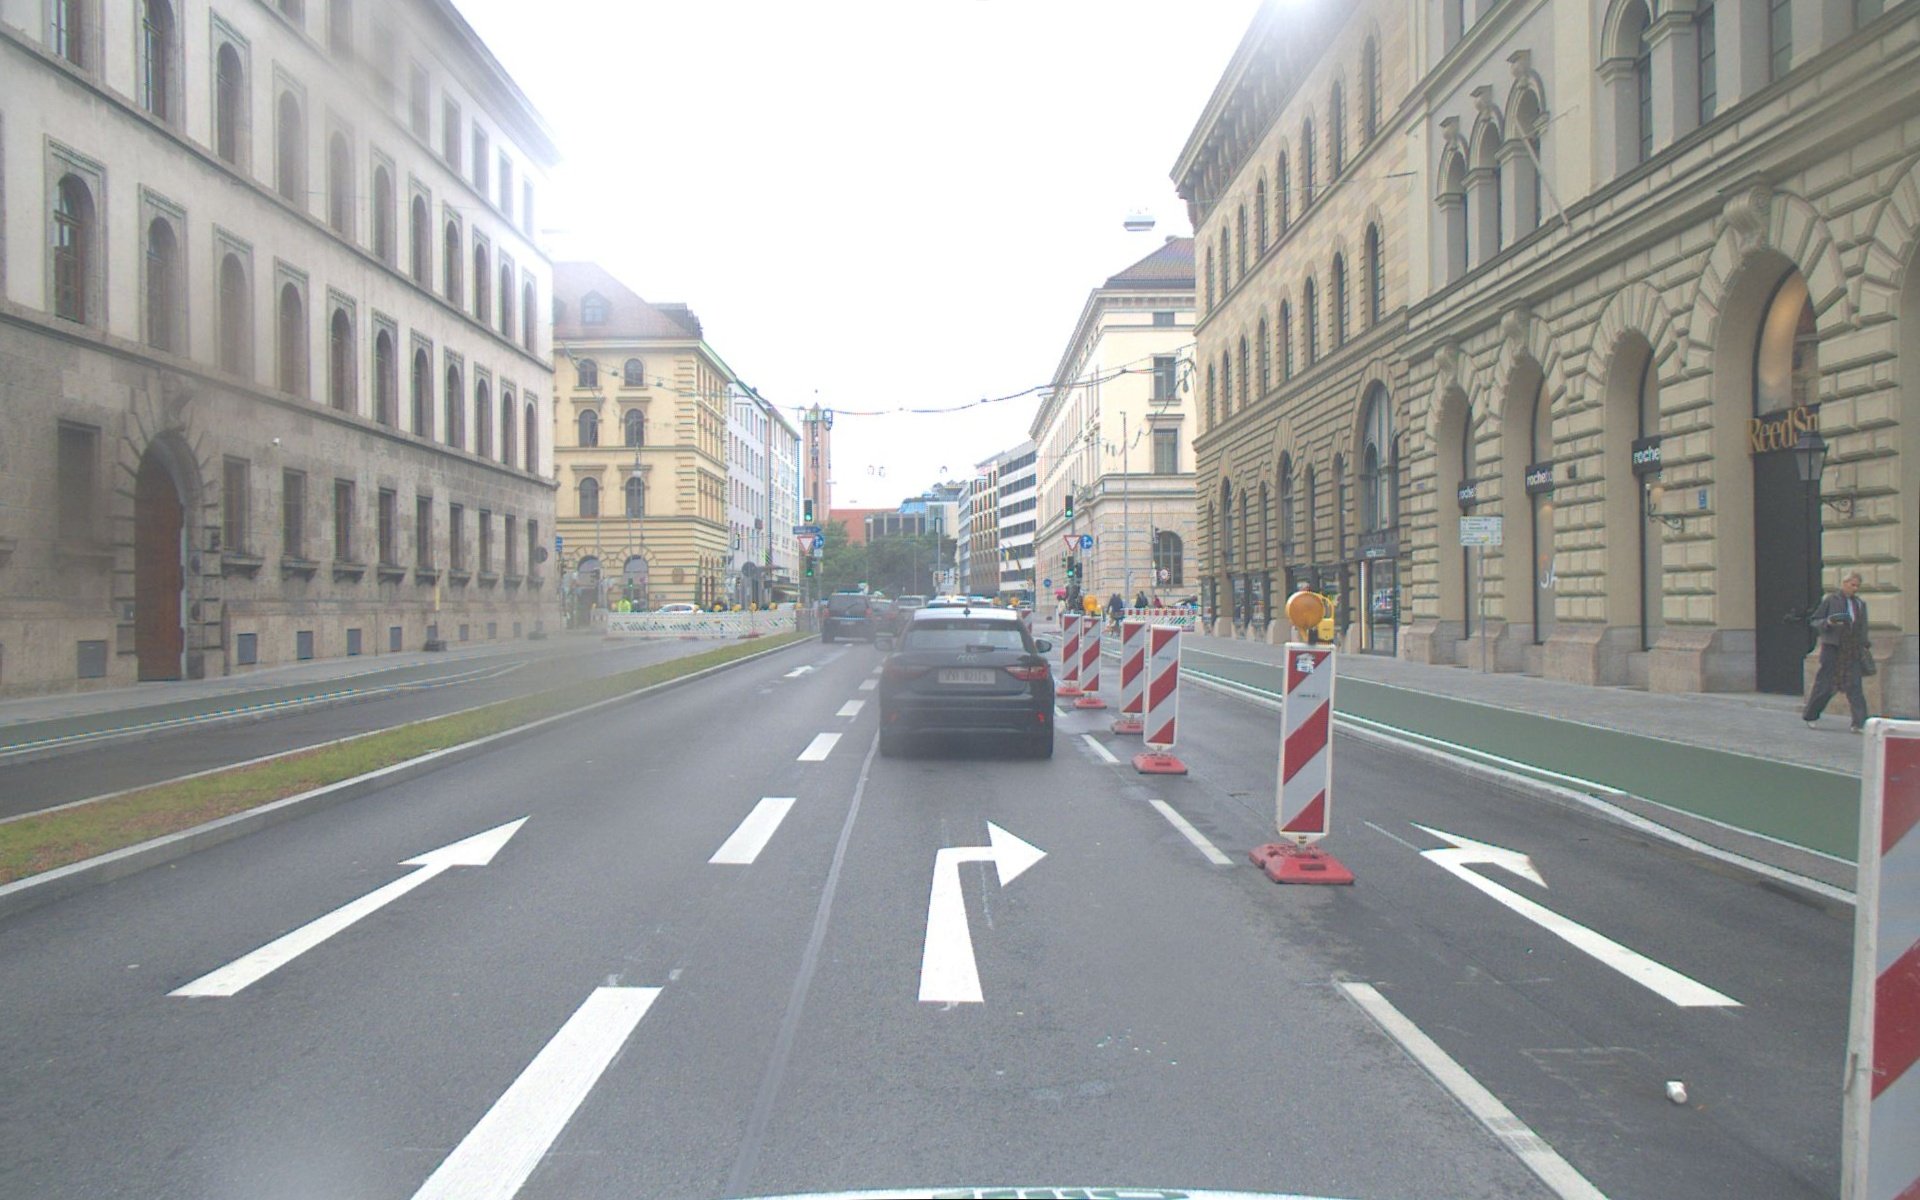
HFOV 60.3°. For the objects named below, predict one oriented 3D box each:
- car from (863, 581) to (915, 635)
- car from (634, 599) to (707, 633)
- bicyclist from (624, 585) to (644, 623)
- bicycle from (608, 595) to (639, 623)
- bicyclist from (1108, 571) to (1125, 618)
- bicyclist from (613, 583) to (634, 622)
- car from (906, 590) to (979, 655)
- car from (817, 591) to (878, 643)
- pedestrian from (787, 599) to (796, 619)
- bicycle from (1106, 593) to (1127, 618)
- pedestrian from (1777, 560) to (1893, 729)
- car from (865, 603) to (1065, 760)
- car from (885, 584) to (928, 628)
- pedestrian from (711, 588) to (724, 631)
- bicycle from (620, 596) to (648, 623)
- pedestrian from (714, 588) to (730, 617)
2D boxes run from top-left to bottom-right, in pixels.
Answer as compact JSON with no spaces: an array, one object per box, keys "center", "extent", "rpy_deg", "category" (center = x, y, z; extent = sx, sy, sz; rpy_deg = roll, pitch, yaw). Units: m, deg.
[{"center":[-2.753,0.310,64.922],"extent":[1.953,2.049,3.999],"rpy_deg":[0,0,-1],"category":"car"},{"center":[-16.284,0.896,92.977],"extent":[3.694,1.830,1.853],"rpy_deg":[-1,0,-26],"category":"car"},{"center":[-15.703,0.189,79.797],"extent":[0.781,1.807,0.689],"rpy_deg":[1,0,3],"category":"bicyclist"},{"center":[-15.313,0.405,75.275],"extent":[0.770,1.264,2.450],"rpy_deg":[1,0,4],"category":"bicycle"},{"center":[6.390,-0.214,67.535],"extent":[0.555,1.886,0.798],"rpy_deg":[1,0,-5],"category":"bicyclist"},{"center":[-15.306,0.120,75.280],"extent":[0.781,1.779,0.689],"rpy_deg":[1,0,3],"category":"bicyclist"},{"center":[-0.505,0.577,44.820],"extent":[1.734,1.645,3.997],"rpy_deg":[1,0,-4],"category":"car"},{"center":[-3.715,0.542,55.159],"extent":[1.827,1.629,3.850],"rpy_deg":[-1,0,-1],"category":"car"},{"center":[-15.015,0.778,147.667],"extent":[0.722,1.803,0.736],"rpy_deg":[1,0,-1],"category":"pedestrian"},{"center":[6.389,0.221,67.521],"extent":[0.573,1.029,1.655],"rpy_deg":[1,0,-5],"category":"bicycle"},{"center":[9.317,0.462,17.651],"extent":[0.619,1.734,1.085],"rpy_deg":[-1,0,-1],"category":"pedestrian"},{"center":[0.017,0.753,17.156],"extent":[1.825,1.412,3.999],"rpy_deg":[0,0,-1],"category":"car"},{"center":[-2.579,0.280,80.055],"extent":[1.953,2.049,3.999],"rpy_deg":[-1,0,-1],"category":"car"},{"center":[-10.176,0.383,69.334],"extent":[0.503,1.773,1.041],"rpy_deg":[0,0,-10],"category":"pedestrian"},{"center":[-15.705,0.456,79.744],"extent":[0.770,1.264,2.200],"rpy_deg":[1,0,4],"category":"bicycle"},{"center":[-14.935,0.178,104.000],"extent":[0.718,1.803,0.739],"rpy_deg":[1,0,20],"category":"pedestrian"}]
